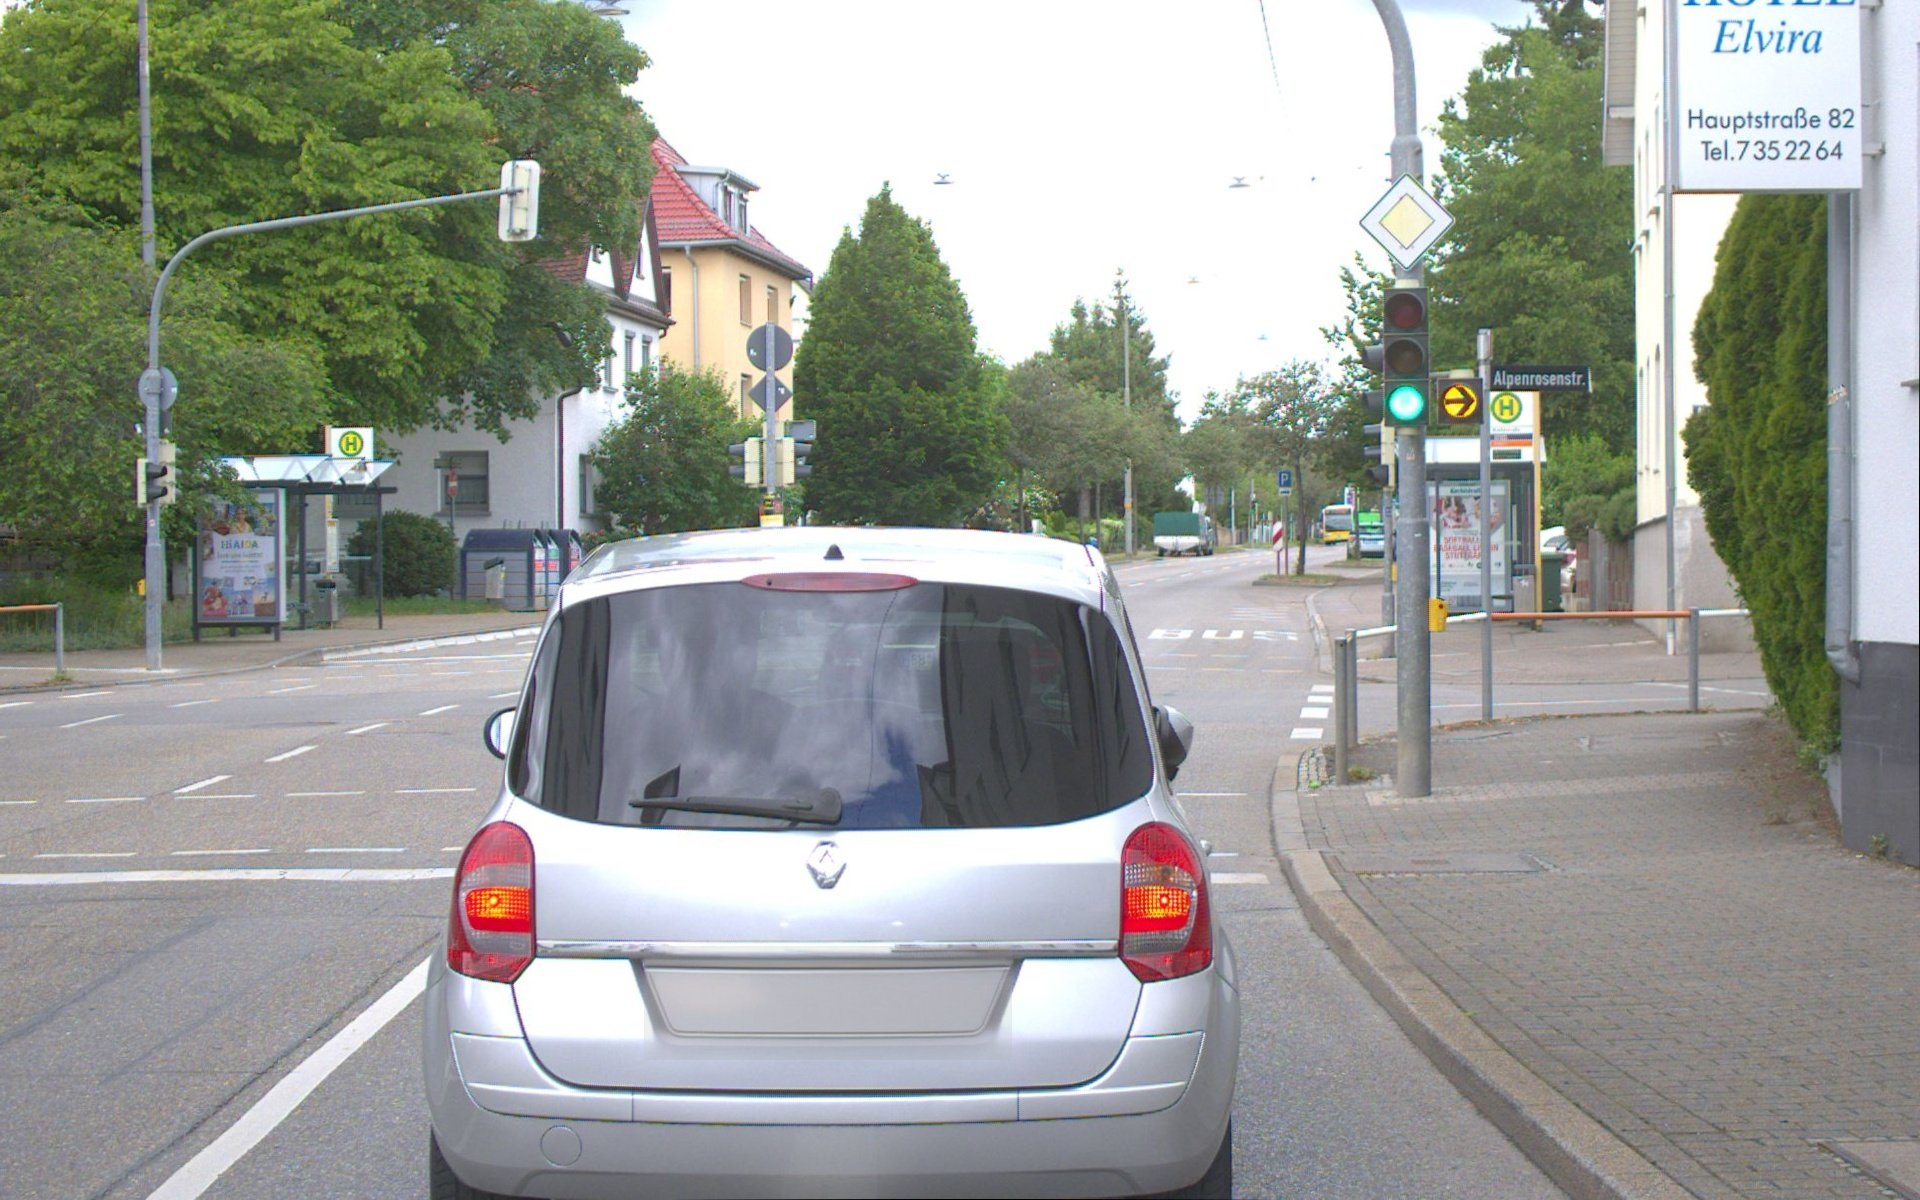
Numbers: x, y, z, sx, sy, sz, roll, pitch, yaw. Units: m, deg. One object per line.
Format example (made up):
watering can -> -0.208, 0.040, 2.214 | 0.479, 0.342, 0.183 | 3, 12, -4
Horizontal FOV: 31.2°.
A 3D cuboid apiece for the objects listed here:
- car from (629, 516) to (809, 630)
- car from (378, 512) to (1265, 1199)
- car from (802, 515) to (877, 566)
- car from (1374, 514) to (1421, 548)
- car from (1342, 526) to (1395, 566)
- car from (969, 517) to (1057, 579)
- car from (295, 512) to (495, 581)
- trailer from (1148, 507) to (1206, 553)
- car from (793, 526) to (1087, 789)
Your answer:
car -> -3.670, -0.408, 53.236 | 1.759, 1.629, 4.593 | -2, 0, 9
car -> -0.212, 0.608, 8.388 | 1.630, 1.551, 4.000 | 1, 0, 1
car -> -3.997, -1.990, 114.642 | 1.806, 1.559, 4.618 | -3, 1, 6
car -> 18.076, -2.860, 141.986 | 1.663, 1.388, 3.666 | 0, 1, 12
car -> 14.658, -1.918, 123.218 | 1.651, 1.378, 3.998 | 0, 0, 10
car -> 1.287, -1.223, 81.840 | 1.564, 1.415, 4.129 | -1, 0, 8
car -> -12.514, -1.172, 76.228 | 3.988, 1.327, 1.722 | -3, 0, 8
trailer -> 10.402, -3.324, 164.554 | 2.313, 2.079, 5.871 | 1, 0, 8
car -> -0.062, 0.344, 23.894 | 1.829, 1.670, 3.574 | -1, 1, 3
